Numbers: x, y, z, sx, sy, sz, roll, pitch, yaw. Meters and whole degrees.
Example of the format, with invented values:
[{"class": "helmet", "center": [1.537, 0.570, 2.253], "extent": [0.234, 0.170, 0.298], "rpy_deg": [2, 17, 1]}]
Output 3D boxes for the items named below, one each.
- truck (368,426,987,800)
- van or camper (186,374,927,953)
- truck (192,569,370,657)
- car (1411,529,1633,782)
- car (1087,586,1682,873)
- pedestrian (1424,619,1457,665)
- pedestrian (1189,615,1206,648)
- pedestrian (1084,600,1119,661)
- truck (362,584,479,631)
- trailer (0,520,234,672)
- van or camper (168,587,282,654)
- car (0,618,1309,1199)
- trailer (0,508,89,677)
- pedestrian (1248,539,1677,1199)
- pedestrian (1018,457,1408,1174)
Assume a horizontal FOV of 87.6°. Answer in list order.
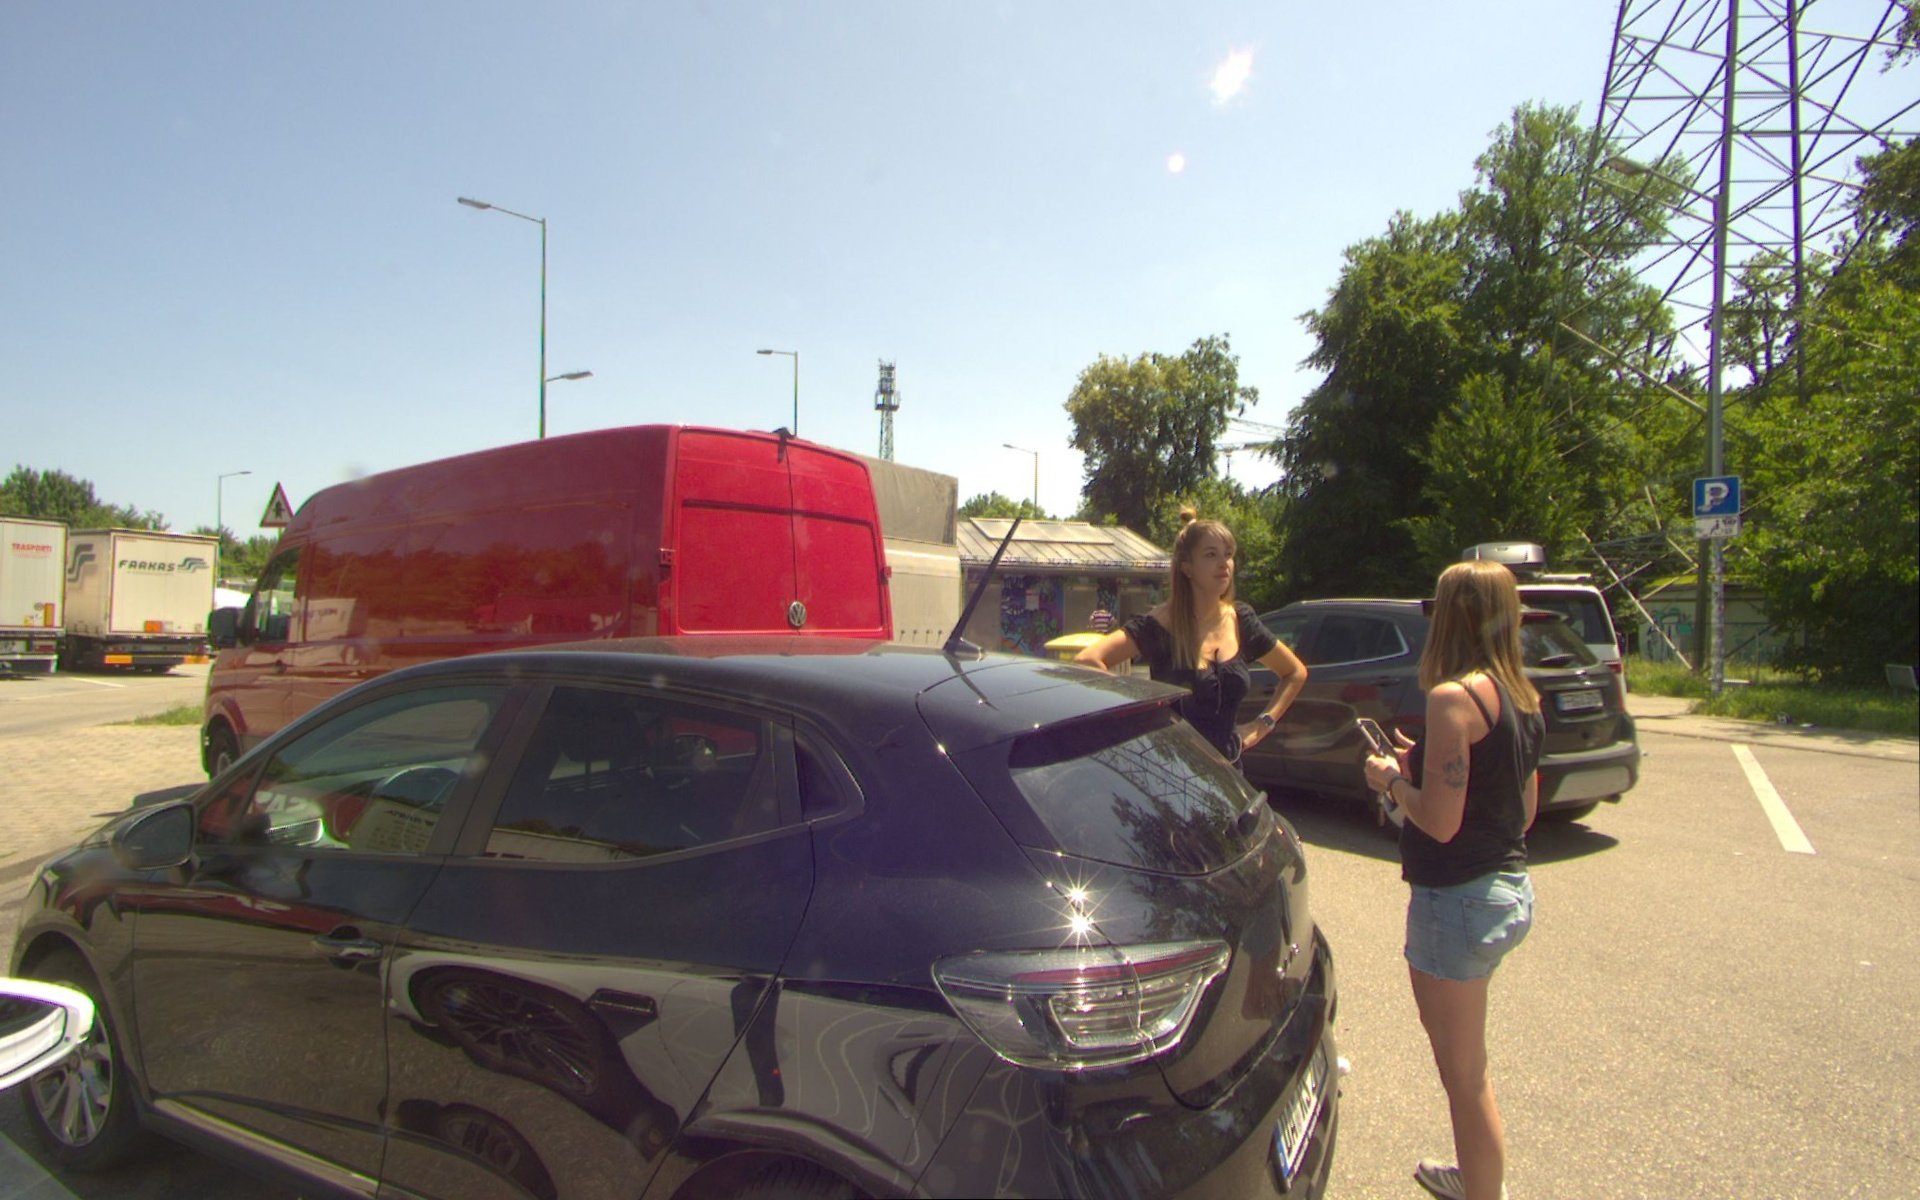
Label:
[{"class": "truck", "center": [-3.265, 0.129, 10.568], "extent": [6.874, 2.828, 2.460], "rpy_deg": [0, -1, 35]}, {"class": "van or camper", "center": [-3.370, 0.321, 7.362], "extent": [6.394, 2.688, 1.990], "rpy_deg": [0, -1, 36]}, {"class": "truck", "center": [-31.700, 0.502, 46.483], "extent": [11.255, 3.615, 2.484], "rpy_deg": [2, -1, 33]}, {"class": "car", "center": [6.535, 0.563, 11.569], "extent": [1.892, 2.354, 4.074], "rpy_deg": [-1, -1, 32]}, {"class": "car", "center": [3.018, 0.782, 7.932], "extent": [1.826, 1.644, 4.024], "rpy_deg": [1, -1, -34]}, {"class": "pedestrian", "center": [14.805, 1.286, 30.852], "extent": [0.695, 1.392, 0.607], "rpy_deg": [1, 0, -3]}, {"class": "pedestrian", "center": [10.990, 1.448, 46.341], "extent": [0.577, 1.536, 0.592], "rpy_deg": [1, 0, -10]}, {"class": "pedestrian", "center": [3.833, 0.824, 27.116], "extent": [0.742, 1.629, 0.765], "rpy_deg": [1, 0, -8]}, {"class": "truck", "center": [-34.731, 0.460, 64.284], "extent": [9.637, 2.857, 2.121], "rpy_deg": [0, -1, 33]}, {"class": "trailer", "center": [-27.300, -0.203, 31.471], "extent": [12.255, 4.090, 2.862], "rpy_deg": [2, -1, 33]}, {"class": "van or camper", "center": [-30.419, 0.816, 41.392], "extent": [5.296, 2.595, 2.100], "rpy_deg": [0, -1, 34]}, {"class": "car", "center": [-1.063, 0.832, 2.854], "extent": [3.706, 1.503, 1.615], "rpy_deg": [0, -1, 27]}, {"class": "trailer", "center": [-28.361, -0.332, 27.806], "extent": [12.255, 4.090, 2.862], "rpy_deg": [2, -1, 33]}, {"class": "pedestrian", "center": [1.170, 0.696, 2.395], "extent": [0.644, 1.606, 0.646], "rpy_deg": [1, 0, -25]}, {"class": "pedestrian", "center": [0.769, 0.585, 3.179], "extent": [0.902, 1.896, 0.772], "rpy_deg": [1, 0, -22]}]
